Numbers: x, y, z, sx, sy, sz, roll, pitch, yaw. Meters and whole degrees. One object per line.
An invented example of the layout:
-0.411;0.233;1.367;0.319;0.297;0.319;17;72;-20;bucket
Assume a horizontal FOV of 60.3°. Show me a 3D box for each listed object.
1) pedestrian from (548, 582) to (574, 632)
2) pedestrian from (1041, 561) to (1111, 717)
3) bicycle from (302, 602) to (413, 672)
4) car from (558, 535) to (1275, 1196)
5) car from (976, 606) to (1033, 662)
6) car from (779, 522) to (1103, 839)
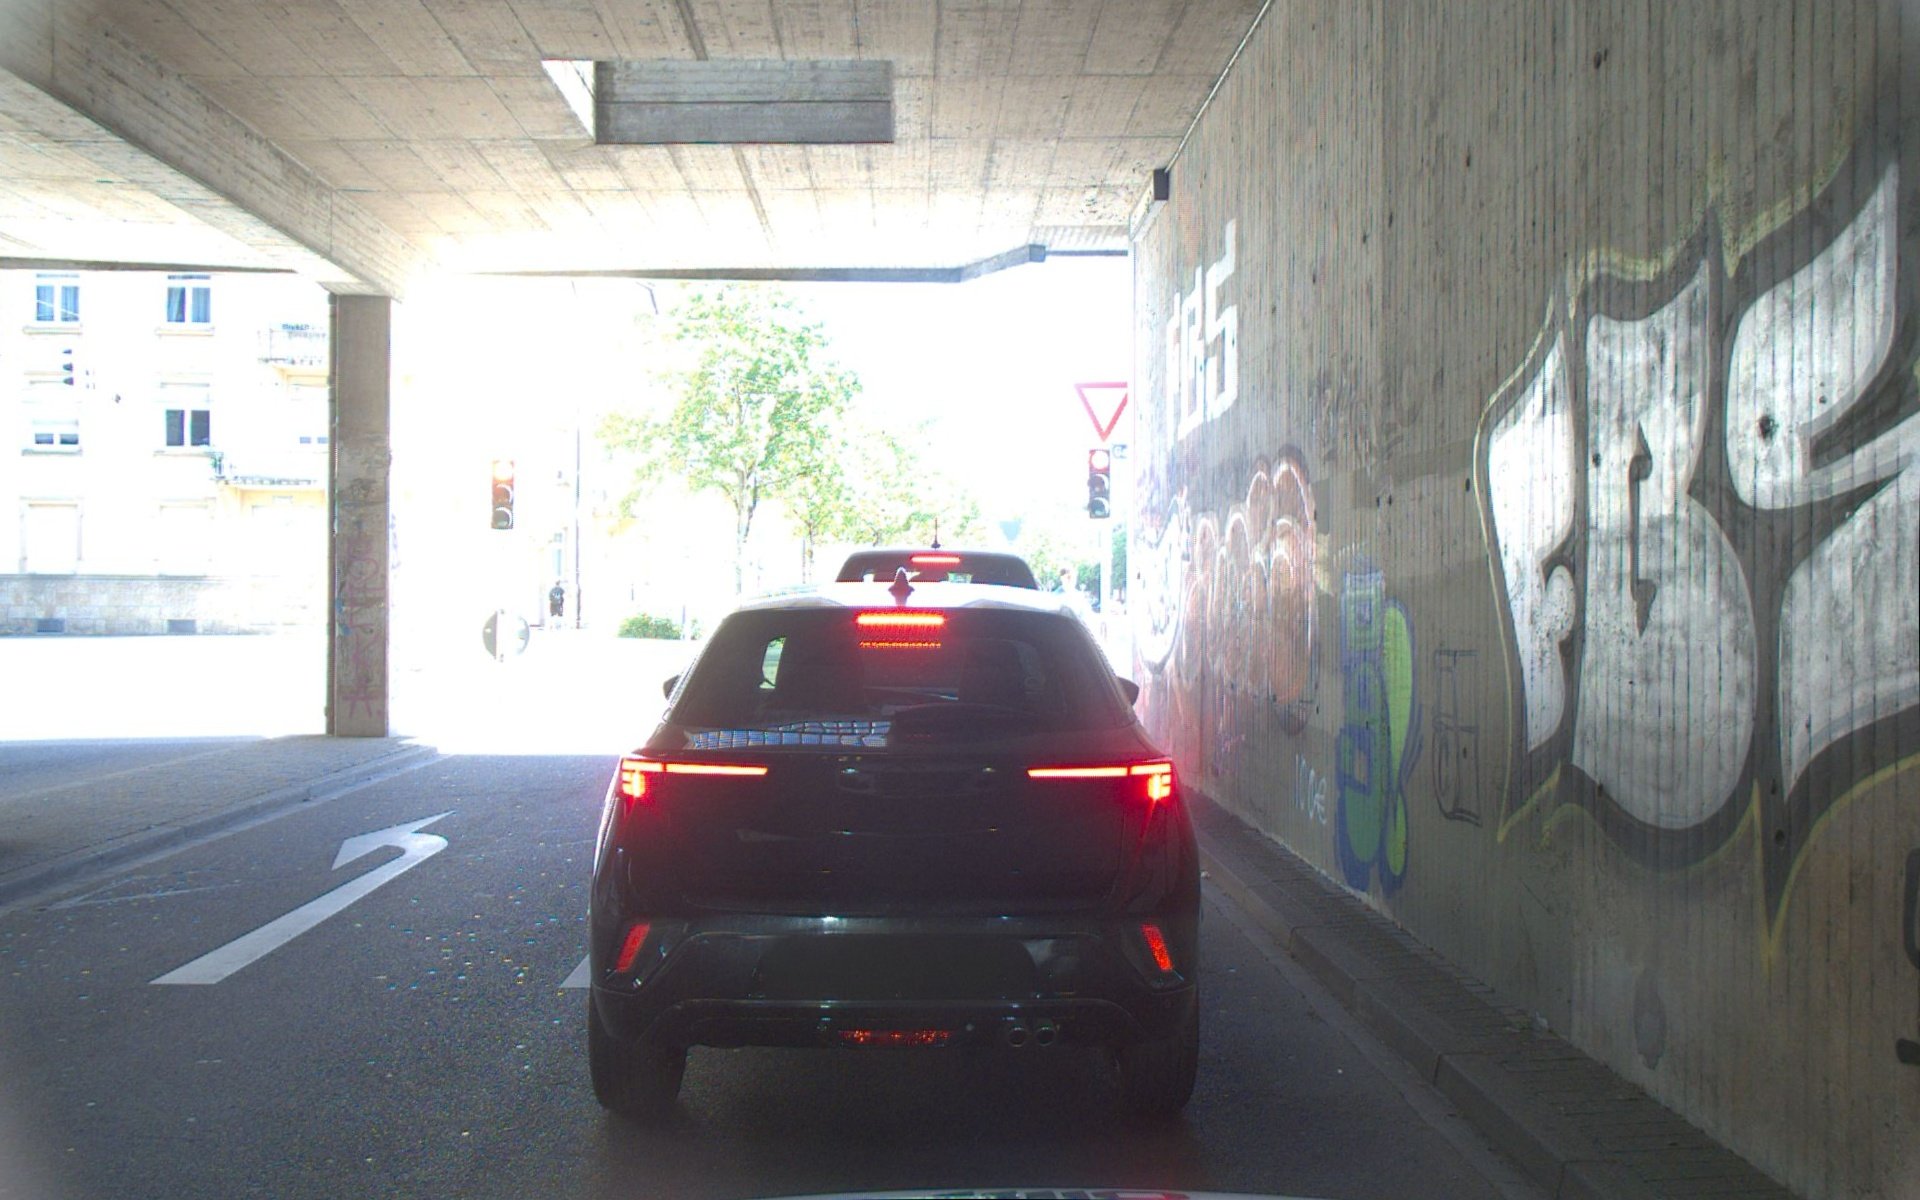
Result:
-13.358;0.238;55.355;0.658;1.666;0.740;1;-1;-1;pedestrian
1.336;0.443;19.222;0.716;1.764;0.874;1;-1;-1;pedestrian
-10.230;0.624;28.109;1.704;1.138;0.477;1;-1;2;bicycle
-0.134;0.610;6.049;1.729;1.598;4.000;1;1;-1;car
1.714;1.254;62.426;1.951;2.004;4.166;1;0;4;car
-0.139;0.475;12.010;1.953;1.904;3.999;0;0;-1;car
